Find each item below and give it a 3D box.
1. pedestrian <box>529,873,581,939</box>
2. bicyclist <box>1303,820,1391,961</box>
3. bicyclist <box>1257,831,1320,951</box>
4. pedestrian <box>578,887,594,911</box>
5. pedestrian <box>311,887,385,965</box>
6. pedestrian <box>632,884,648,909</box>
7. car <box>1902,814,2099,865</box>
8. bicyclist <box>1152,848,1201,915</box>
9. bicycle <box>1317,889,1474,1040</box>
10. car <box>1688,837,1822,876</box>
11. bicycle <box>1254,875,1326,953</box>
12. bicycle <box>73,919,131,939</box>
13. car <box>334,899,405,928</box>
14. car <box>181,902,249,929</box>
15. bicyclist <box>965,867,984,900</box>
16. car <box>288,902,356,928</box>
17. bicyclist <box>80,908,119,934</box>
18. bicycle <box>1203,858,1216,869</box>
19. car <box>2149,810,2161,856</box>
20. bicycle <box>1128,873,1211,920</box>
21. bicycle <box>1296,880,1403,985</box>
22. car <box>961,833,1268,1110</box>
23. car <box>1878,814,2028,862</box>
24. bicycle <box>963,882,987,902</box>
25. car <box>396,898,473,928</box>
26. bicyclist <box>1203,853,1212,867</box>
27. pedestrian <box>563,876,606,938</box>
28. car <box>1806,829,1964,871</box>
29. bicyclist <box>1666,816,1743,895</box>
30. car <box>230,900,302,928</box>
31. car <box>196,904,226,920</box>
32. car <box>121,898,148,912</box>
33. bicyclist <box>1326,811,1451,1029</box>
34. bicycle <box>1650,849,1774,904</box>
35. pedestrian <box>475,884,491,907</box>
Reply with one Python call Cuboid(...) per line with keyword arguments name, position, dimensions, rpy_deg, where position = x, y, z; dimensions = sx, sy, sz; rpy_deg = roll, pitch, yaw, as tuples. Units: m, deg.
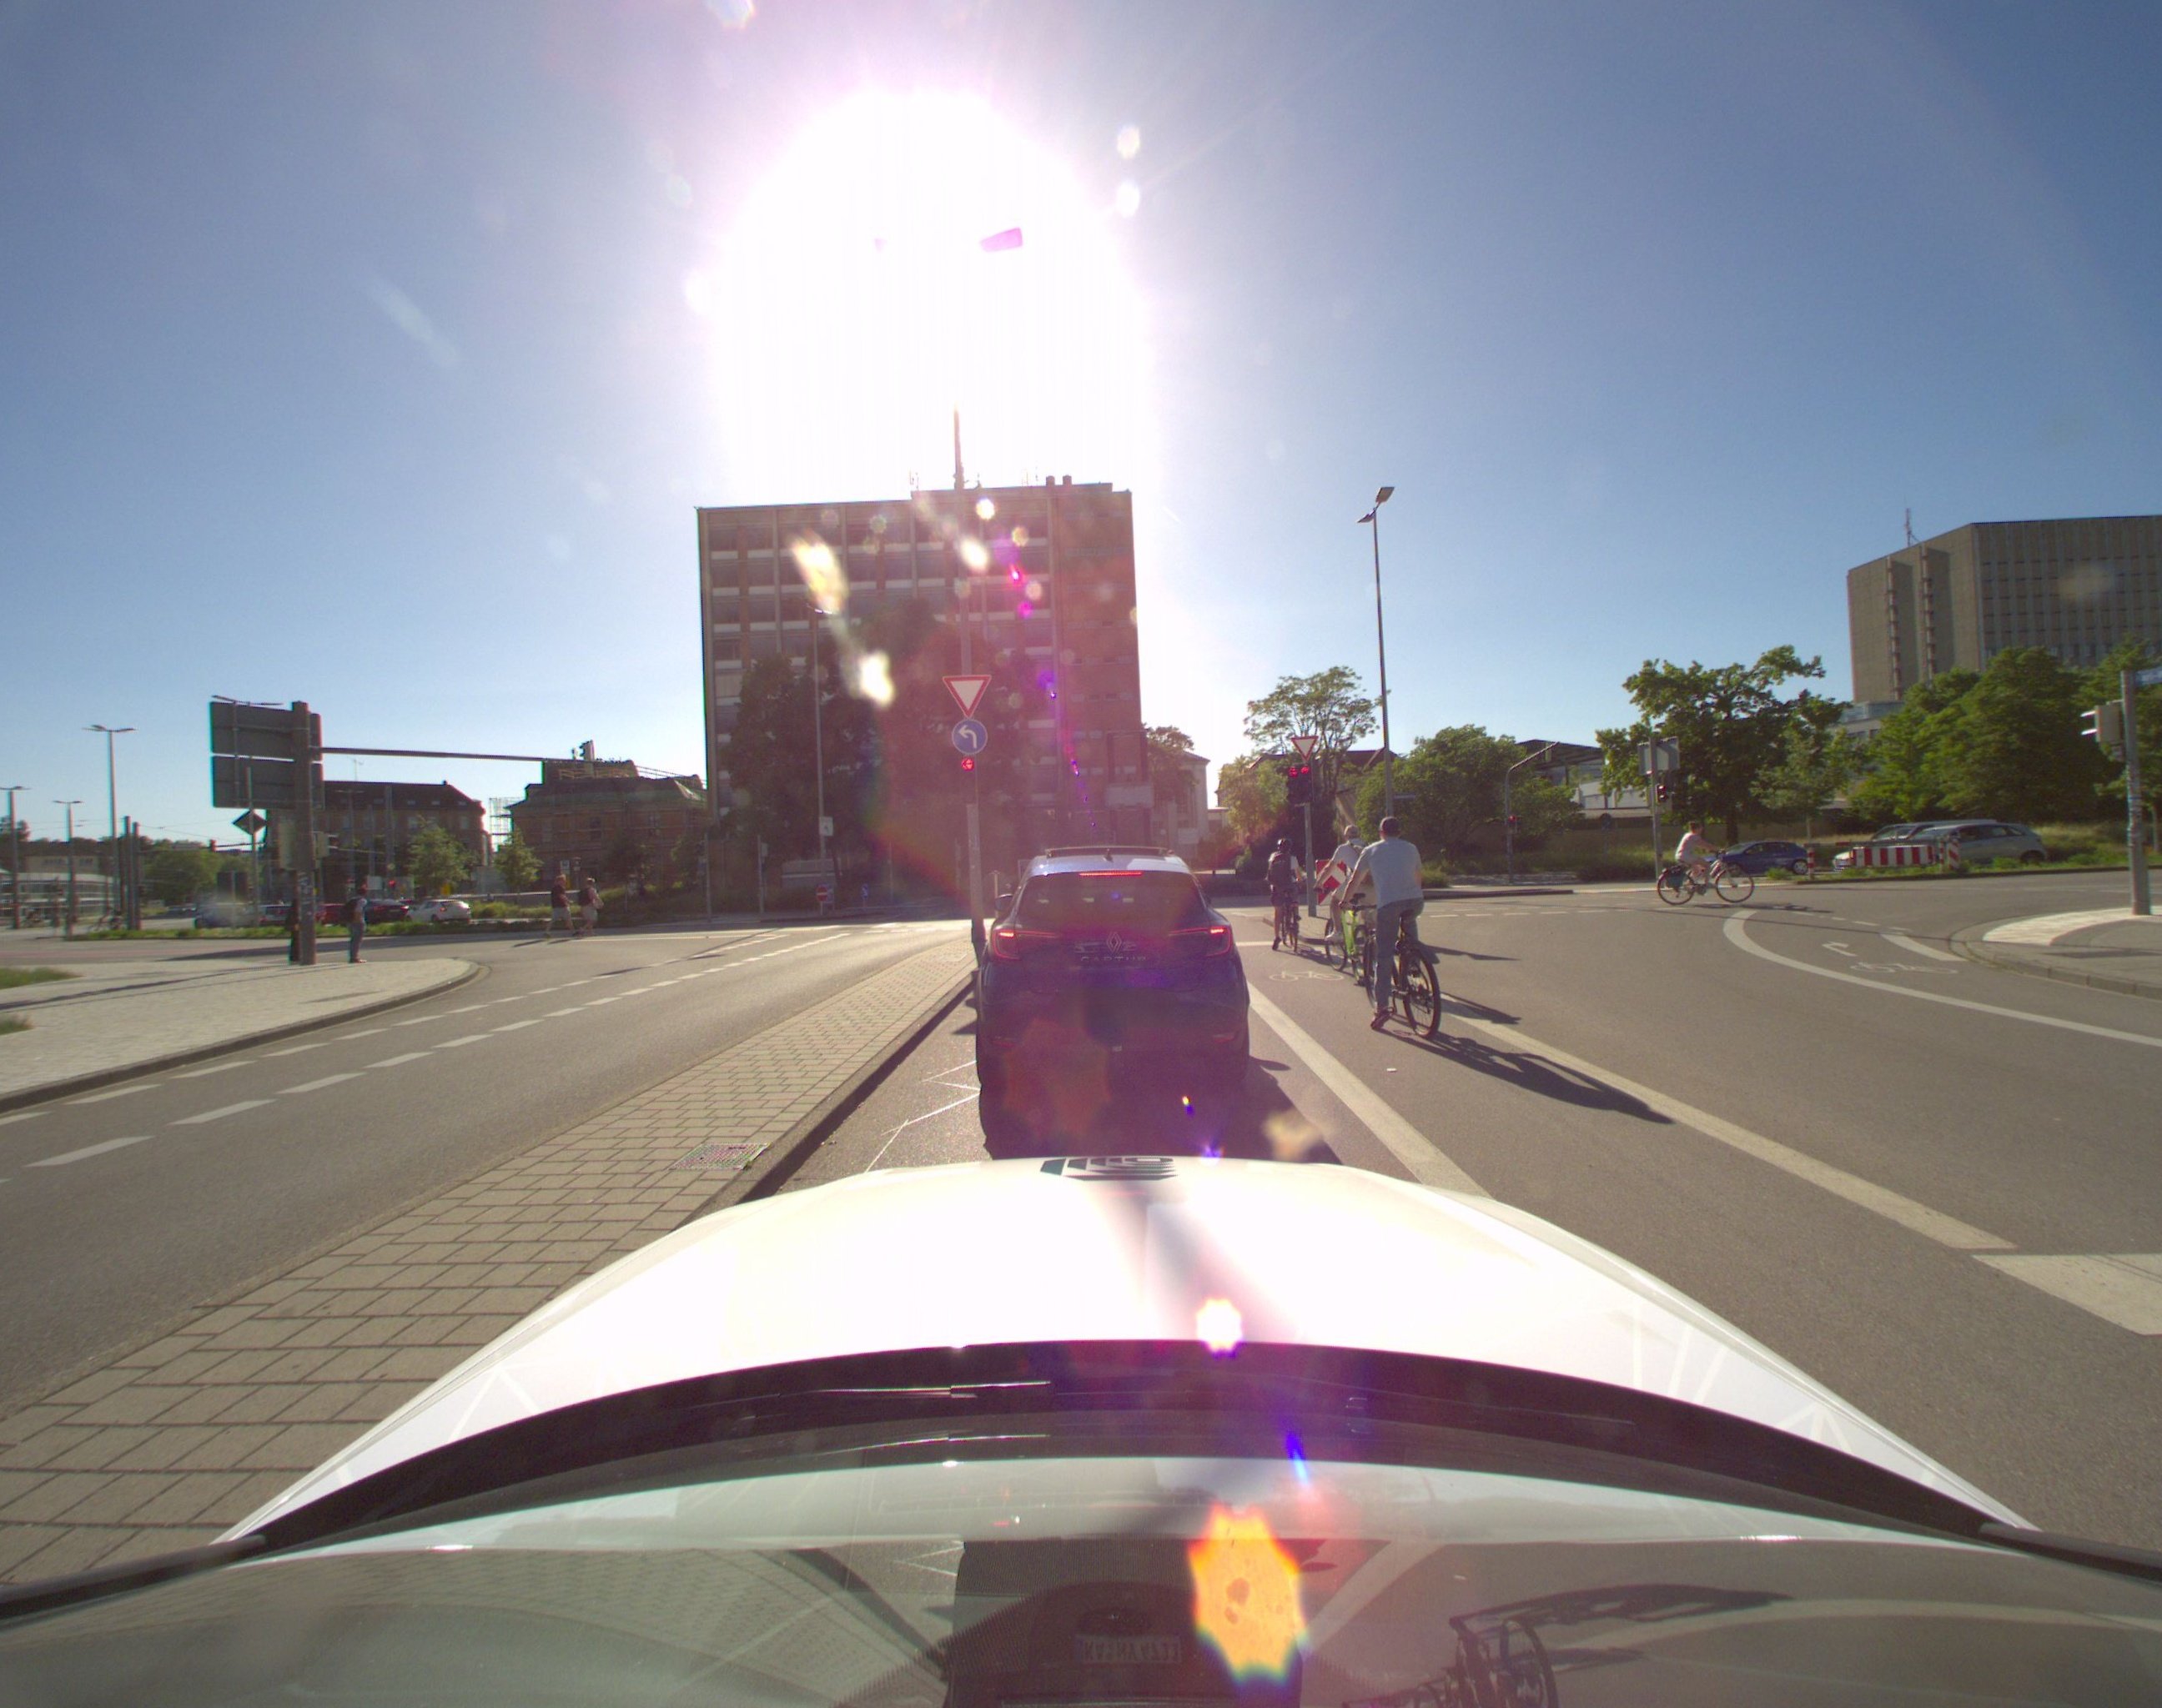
Cuboid(name="pedestrian", position=(-15.448, 1.509, 23.938), dimensions=(0.807, 1.862, 0.913), rpy_deg=(-3, -1, 15))
Cuboid(name="bicyclist", position=(3.183, 0.415, 9.837), dimensions=(0.676, 1.594, 1.142), rpy_deg=(-1, -1, 2))
Cuboid(name="bicyclist", position=(3.259, 0.558, 12.857), dimensions=(0.697, 1.791, 1.142), rpy_deg=(-1, -1, 2))
Cuboid(name="pedestrian", position=(-36.826, 3.315, 60.587), dimensions=(0.678, 1.730, 0.761), rpy_deg=(-2, -1, -1))
Cuboid(name="pedestrian", position=(-17.254, 1.673, 19.190), dimensions=(0.647, 1.730, 1.066), rpy_deg=(-3, -1, 15))
Cuboid(name="pedestrian", position=(-31.027, 3.000, 57.313), dimensions=(0.680, 1.730, 0.759), rpy_deg=(-2, -1, -7))
Cuboid(name="car", position=(29.224, -0.434, 26.005), dimensions=(3.965, 1.398, 1.798), rpy_deg=(-3, -1, 7))
Cuboid(name="bicyclist", position=(2.274, 0.649, 19.361), dimensions=(1.045, 1.513, 0.643), rpy_deg=(-4, -1, 9))
Cuboid(name="bicycle", position=(2.717, 0.898, 7.273), dimensions=(0.687, 1.089, 1.923), rpy_deg=(-1, 0, 2))
Cuboid(name="car", position=(28.138, 0.105, 34.110), dimensions=(3.965, 1.398, 1.798), rpy_deg=(-3, -1, 7))
Cuboid(name="bicycle", position=(3.266, 0.900, 12.902), dimensions=(0.687, 1.089, 1.923), rpy_deg=(-1, 0, 2))
Cuboid(name="bicycle", position=(-64.848, 4.956, 53.959), dimensions=(0.800, 1.062, 2.434), rpy_deg=(-1, -1, 36))
Cuboid(name="car", position=(-42.562, 3.560, 48.714), dimensions=(3.834, 1.508, 1.805), rpy_deg=(-3, -1, 25))
Cuboid(name="car", position=(-54.910, 3.888, 51.643), dimensions=(3.834, 1.508, 1.805), rpy_deg=(-3, -1, 25))
Cuboid(name="bicyclist", position=(-5.757, 1.607, 44.075), dimensions=(0.751, 1.716, 1.001), rpy_deg=(-2, -1, 7))
Cuboid(name="car", position=(-48.203, 3.866, 51.715), dimensions=(3.834, 1.508, 1.805), rpy_deg=(-3, -1, 25))
Cuboid(name="bicyclist", position=(-64.918, 4.419, 53.859), dimensions=(0.800, 1.634, 1.586), rpy_deg=(-1, -1, 36))
Cuboid(name="bicycle", position=(14.893, 1.084, 94.168), dimensions=(0.688, 1.140, 2.456), rpy_deg=(-3, -1, 26))
Cuboid(name="car", position=(36.904, -0.763, 25.334), dimensions=(4.534, 1.472, 1.798), rpy_deg=(-3, -1, 7))
Cuboid(name="bicycle", position=(2.116, 1.002, 19.382), dimensions=(1.887, 0.973, 0.651), rpy_deg=(-4, -1, 9))
Cuboid(name="bicycle", position=(3.187, 0.889, 9.863), dimensions=(0.687, 1.089, 1.923), rpy_deg=(-1, 0, 2))
Cuboid(name="car", position=(0.200, 0.703, 6.771), dimensions=(1.783, 1.585, 3.913), rpy_deg=(-1, 0, 0))
Cuboid(name="car", position=(35.874, -0.618, 33.611), dimensions=(3.965, 1.749, 1.798), rpy_deg=(-2, -1, 7))
Cuboid(name="bicycle", position=(-5.724, 2.042, 44.176), dimensions=(0.751, 0.985, 2.098), rpy_deg=(-2, 0, 8))
Cuboid(name="car", position=(-36.391, 3.333, 45.841), dimensions=(3.834, 1.508, 1.805), rpy_deg=(-3, -1, 25))
Cuboid(name="bicyclist", position=(14.496, 0.692, 93.401), dimensions=(0.688, 1.481, 0.721), rpy_deg=(-3, -1, 27))
Cuboid(name="pedestrian", position=(-14.517, 1.538, 23.824), dimensions=(0.675, 1.730, 0.764), rpy_deg=(-3, -1, 15))
Cuboid(name="car", position=(30.300, -0.136, 30.796), dimensions=(3.965, 1.398, 1.798), rpy_deg=(-3, -1, 7))
Cuboid(name="bicyclist", position=(12.790, 0.038, 16.725), dimensions=(1.062, 1.528, 0.518), rpy_deg=(-4, -1, 9))
Cuboid(name="car", position=(-48.860, 3.600, 48.810), dimensions=(3.834, 1.508, 1.805), rpy_deg=(-3, -1, 25))
Cuboid(name="car", position=(-126.035, 8.369, 118.042), dimensions=(1.797, 2.013, 3.963), rpy_deg=(-2, -1, -29))
Cuboid(name="car", position=(-152.834, 8.280, 131.543), dimensions=(2.008, 2.014, 3.956), rpy_deg=(0, -1, -35))
Cuboid(name="bicyclist", position=(2.718, 0.553, 7.319), dimensions=(0.680, 1.791, 1.142), rpy_deg=(-1, -1, 2))
Cuboid(name="bicycle", position=(12.907, 0.457, 16.702), dimensions=(1.956, 0.988, 0.523), rpy_deg=(-4, -1, 9))
Cuboid(name="pedestrian", position=(-47.720, 3.295, 65.000), dimensions=(0.755, 1.730, 0.683), rpy_deg=(-2, -1, 2))
